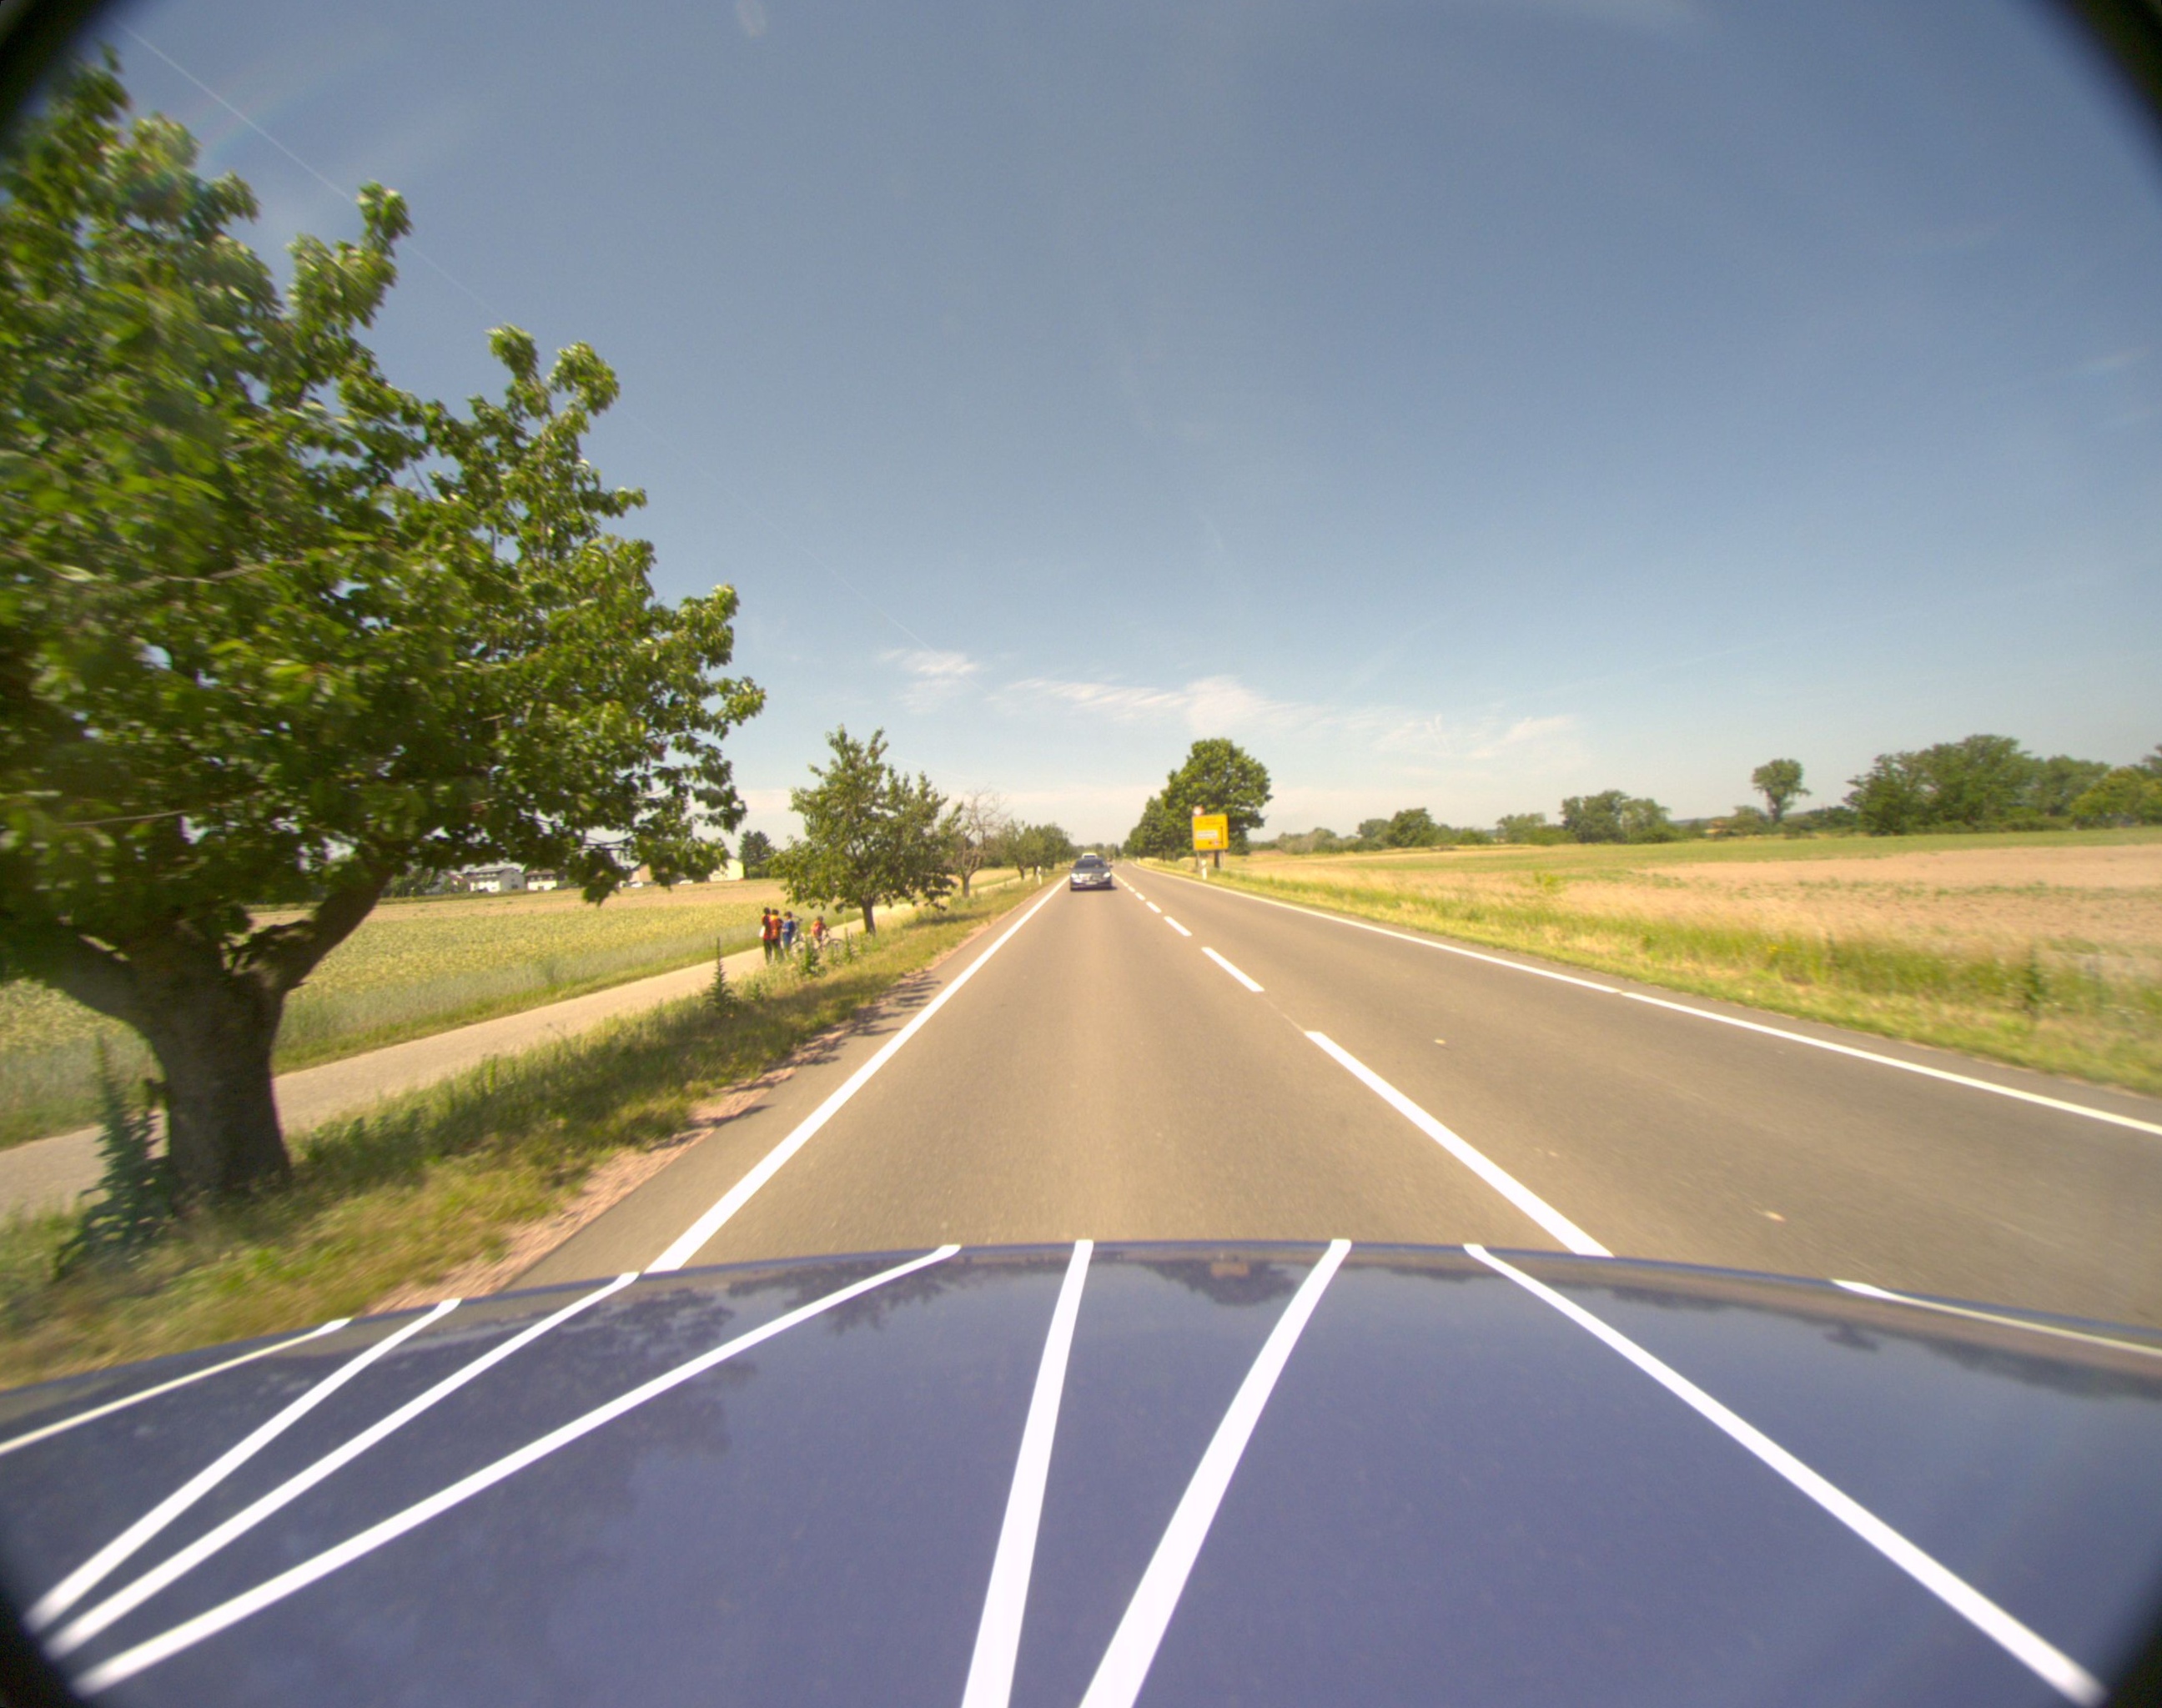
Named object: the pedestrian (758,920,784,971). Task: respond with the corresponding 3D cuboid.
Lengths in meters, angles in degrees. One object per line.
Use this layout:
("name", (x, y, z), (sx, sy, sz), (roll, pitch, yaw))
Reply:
("pedestrian", (-8.419, 2.482, 20.650), (0.486, 1.306, 0.443), (-2, 1, 43))

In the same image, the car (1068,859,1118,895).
("car", (0.480, 0.954, 32.512), (1.954, 1.390, 4.000), (-1, 0, 0))

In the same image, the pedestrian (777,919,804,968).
("pedestrian", (-8.053, 2.477, 21.070), (0.486, 1.288, 0.443), (-2, 1, 34))

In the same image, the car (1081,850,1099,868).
("car", (1.089, 0.590, 89.643), (1.998, 1.907, 4.206), (-3, 0, 1))

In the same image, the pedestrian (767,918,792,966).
("pedestrian", (-8.510, 2.468, 21.438), (0.443, 1.288, 0.486), (-3, 1, -44))

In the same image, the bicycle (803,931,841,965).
("bicycle", (-7.233, 2.616, 21.197), (1.116, 0.855, 0.443), (-2, 0, 38))

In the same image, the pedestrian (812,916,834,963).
("pedestrian", (-7.364, 2.436, 21.716), (0.442, 1.288, 0.487), (-2, 1, -6))

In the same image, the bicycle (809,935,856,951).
("bicycle", (-7.562, 2.695, 23.124), (1.234, 0.280, 1.013), (-3, 0, -26))

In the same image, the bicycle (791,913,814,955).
("bicycle", (-8.906, 2.541, 24.324), (0.477, 1.158, 1.680), (-3, 0, -14))
